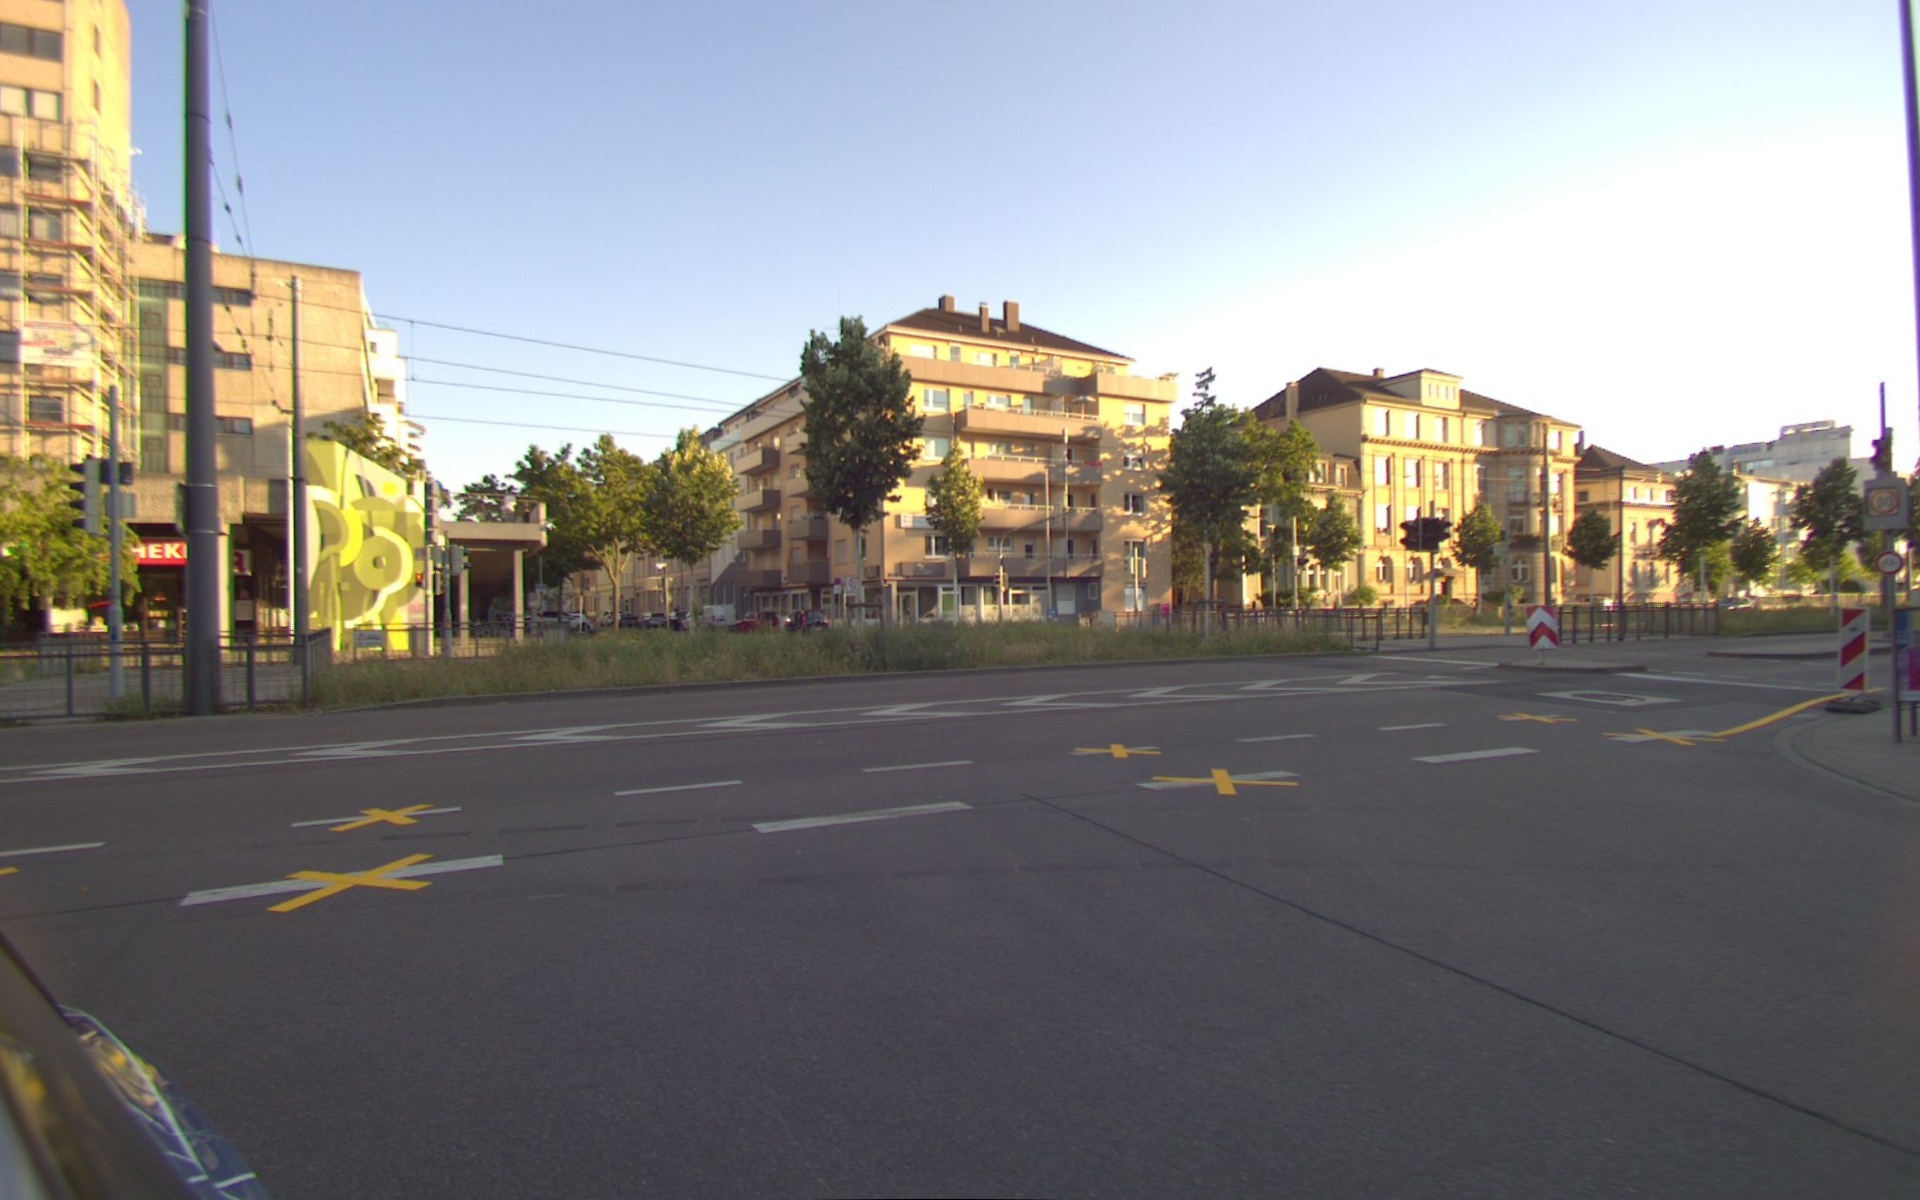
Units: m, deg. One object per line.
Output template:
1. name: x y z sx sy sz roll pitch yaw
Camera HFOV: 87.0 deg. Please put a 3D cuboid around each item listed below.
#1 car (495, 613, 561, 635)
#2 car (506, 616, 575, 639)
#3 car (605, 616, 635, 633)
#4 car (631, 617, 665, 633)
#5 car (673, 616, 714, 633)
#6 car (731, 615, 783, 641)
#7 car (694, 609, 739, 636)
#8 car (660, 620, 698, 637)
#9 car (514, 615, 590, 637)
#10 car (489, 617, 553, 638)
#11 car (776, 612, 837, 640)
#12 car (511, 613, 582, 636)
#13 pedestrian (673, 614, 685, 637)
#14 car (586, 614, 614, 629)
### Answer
1. car: -33.663 1.875 78.879 4.565 1.572 2.006 -1 -1 -29
2. car: -31.299 2.009 75.524 4.565 1.572 2.006 -1 -1 -29
3. car: -32.874 2.377 97.750 1.966 1.541 4.012 -1 -1 -30
4. car: -27.269 2.172 88.391 1.966 1.253 4.012 -1 -1 -30
5. car: -20.095 1.824 76.226 1.966 1.253 4.012 -1 -1 -30
6. car: -12.808 1.741 63.725 1.966 1.497 4.012 -1 -1 -30
7. car: -17.098 1.567 70.987 1.966 1.763 4.012 -1 -1 -30
8. car: -22.228 2.224 79.976 1.966 1.253 4.012 -1 -1 -30
9. car: -27.717 1.736 68.769 4.565 1.408 2.006 -1 -1 -29
10. car: -35.424 2.178 81.648 4.565 1.572 2.006 -1 -1 -29
11. car: -8.586 1.429 56.316 1.966 1.497 4.012 -1 -1 -30
12. car: -30.021 1.733 73.484 4.565 1.572 2.006 -1 -1 -29
13. pedestrian: -24.992 2.256 90.093 0.877 2.029 0.773 0 -1 -31
14. car: -37.179 2.207 104.381 1.966 1.541 4.012 -1 -1 -30
